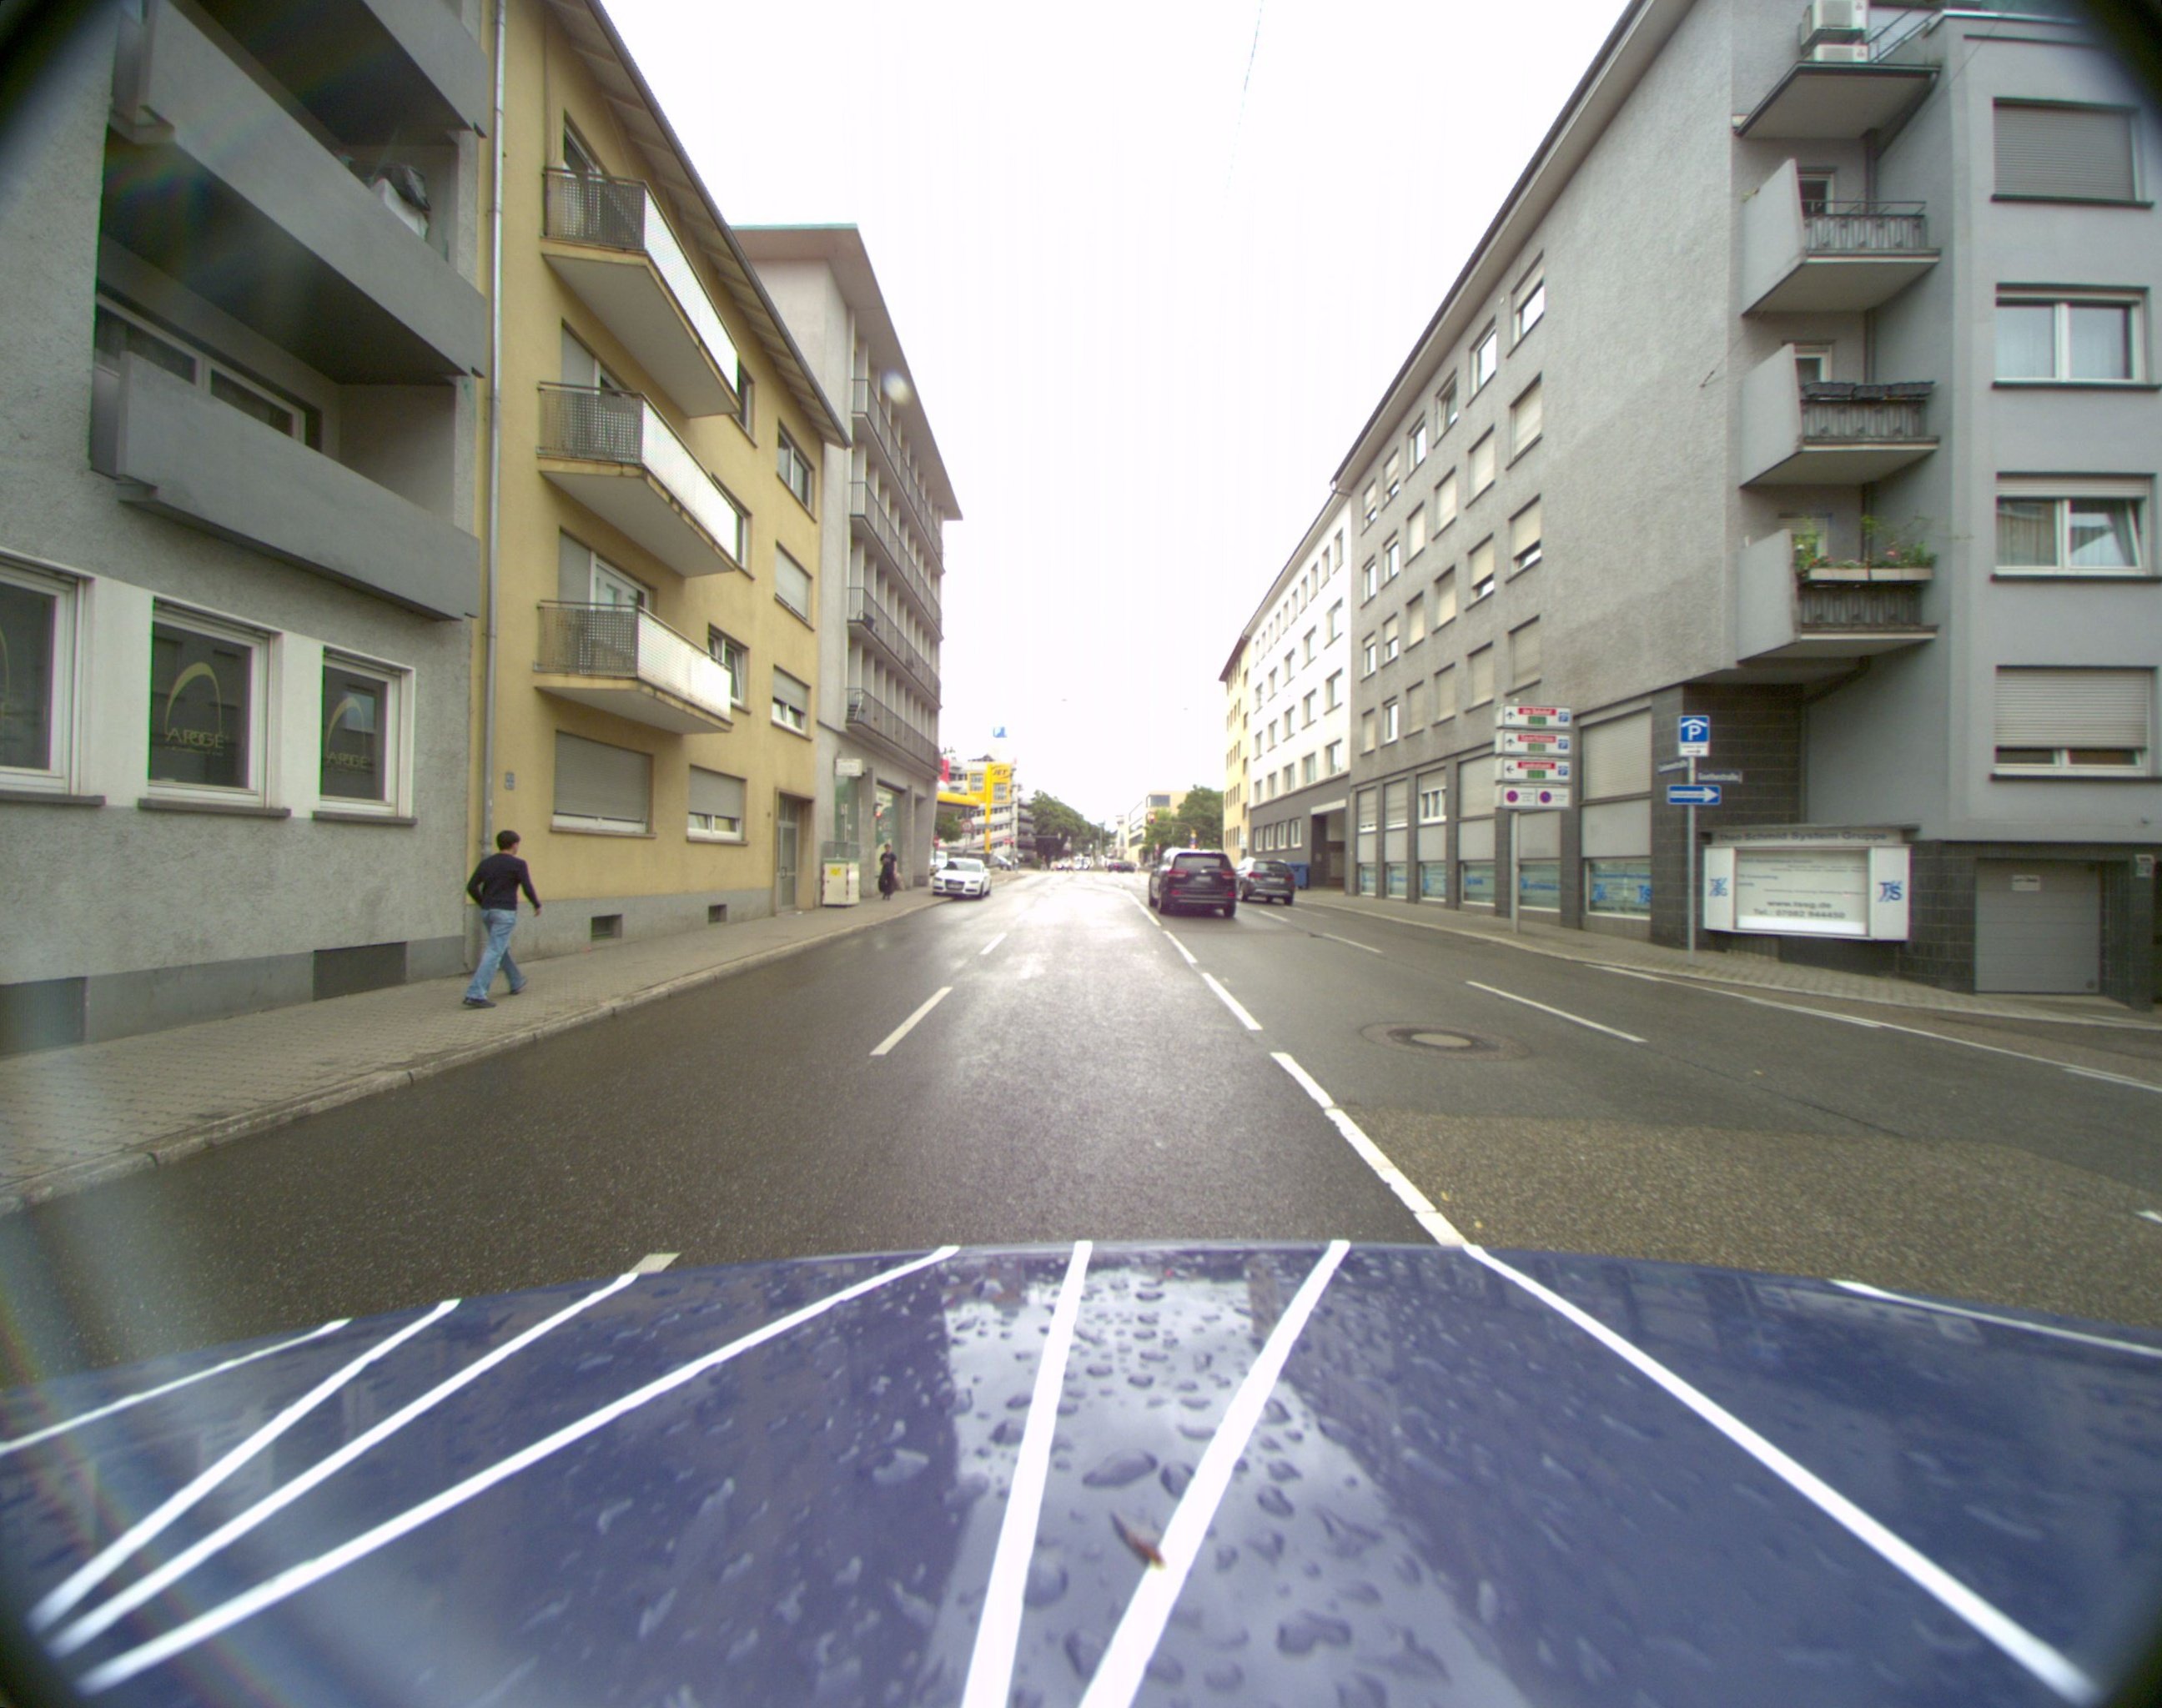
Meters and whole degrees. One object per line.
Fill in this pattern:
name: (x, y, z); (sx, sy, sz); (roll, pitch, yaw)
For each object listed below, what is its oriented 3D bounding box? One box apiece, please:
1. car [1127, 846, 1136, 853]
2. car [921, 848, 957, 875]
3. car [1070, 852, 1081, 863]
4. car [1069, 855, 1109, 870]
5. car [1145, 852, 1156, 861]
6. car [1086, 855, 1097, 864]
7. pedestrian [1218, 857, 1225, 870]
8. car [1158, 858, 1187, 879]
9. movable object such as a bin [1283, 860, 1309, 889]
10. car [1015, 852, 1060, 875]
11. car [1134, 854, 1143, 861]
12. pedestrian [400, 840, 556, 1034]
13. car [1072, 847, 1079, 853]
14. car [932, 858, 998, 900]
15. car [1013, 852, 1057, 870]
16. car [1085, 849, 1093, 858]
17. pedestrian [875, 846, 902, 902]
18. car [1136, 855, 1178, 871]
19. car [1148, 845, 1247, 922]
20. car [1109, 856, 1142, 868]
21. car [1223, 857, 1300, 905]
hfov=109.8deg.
car: (12.879, -1.122, 192.895); (1.998, 1.683, 4.000); (-2, 1, 2)
car: (-8.608, 0.437, 46.350); (1.772, 1.465, 3.997); (-2, 0, -6)
car: (-0.988, 0.729, 149.040); (1.998, 2.002, 3.999); (-2, 1, 0)
car: (0.789, 0.841, 76.898); (3.996, 1.499, 1.738); (1, 1, 2)
car: (15.472, 0.578, 169.914); (1.998, 1.863, 3.999); (-2, 1, 0)
car: (2.060, 1.114, 153.471); (1.999, 1.736, 3.998); (-2, 1, -2)
pedestrian: (12.898, 0.906, 69.789); (0.582, 1.143, 0.407); (3, 1, 2)
car: (7.430, 1.153, 62.134); (1.883, 1.580, 4.373); (0, 0, 1)
movable object such as a bin: (10.385, 0.990, 36.742); (0.946, 1.325, 1.096); (-3, 1, 1)
car: (-3.847, 0.807, 67.679); (3.794, 1.823, 1.692); (-3, 1, 2)
car: (13.934, 0.848, 183.497); (1.998, 1.683, 4.000); (-2, 1, 2)
pedestrian: (-5.946, 0.770, 7.563); (0.644, 1.768, 1.056); (3, 1, 0)
car: (-1.855, -1.364, 257.731); (1.998, 1.827, 3.999); (-2, 1, 1)
car: (-4.359, 0.899, 29.072); (1.803, 1.427, 4.166); (1, 0, 1)
car: (-4.569, 0.690, 75.905); (3.994, 1.751, 2.001); (1, 1, 9)
car: (1.960, -0.114, 184.490); (1.998, 2.002, 3.999); (-2, 1, 1)
pedestrian: (-6.114, 0.609, 24.182); (0.679, 1.745, 0.888); (1, 1, -4)
car: (7.390, 0.880, 74.520); (3.996, 1.499, 1.738); (1, 1, 2)
car: (2.905, 0.675, 19.898); (1.841, 1.717, 4.474); (3, 0, 0)
car: (5.815, 1.028, 99.644); (4.005, 1.499, 1.734); (1, 1, -22)
car: (6.363, 0.903, 27.188); (1.707, 1.498, 4.159); (3, 0, 0)
